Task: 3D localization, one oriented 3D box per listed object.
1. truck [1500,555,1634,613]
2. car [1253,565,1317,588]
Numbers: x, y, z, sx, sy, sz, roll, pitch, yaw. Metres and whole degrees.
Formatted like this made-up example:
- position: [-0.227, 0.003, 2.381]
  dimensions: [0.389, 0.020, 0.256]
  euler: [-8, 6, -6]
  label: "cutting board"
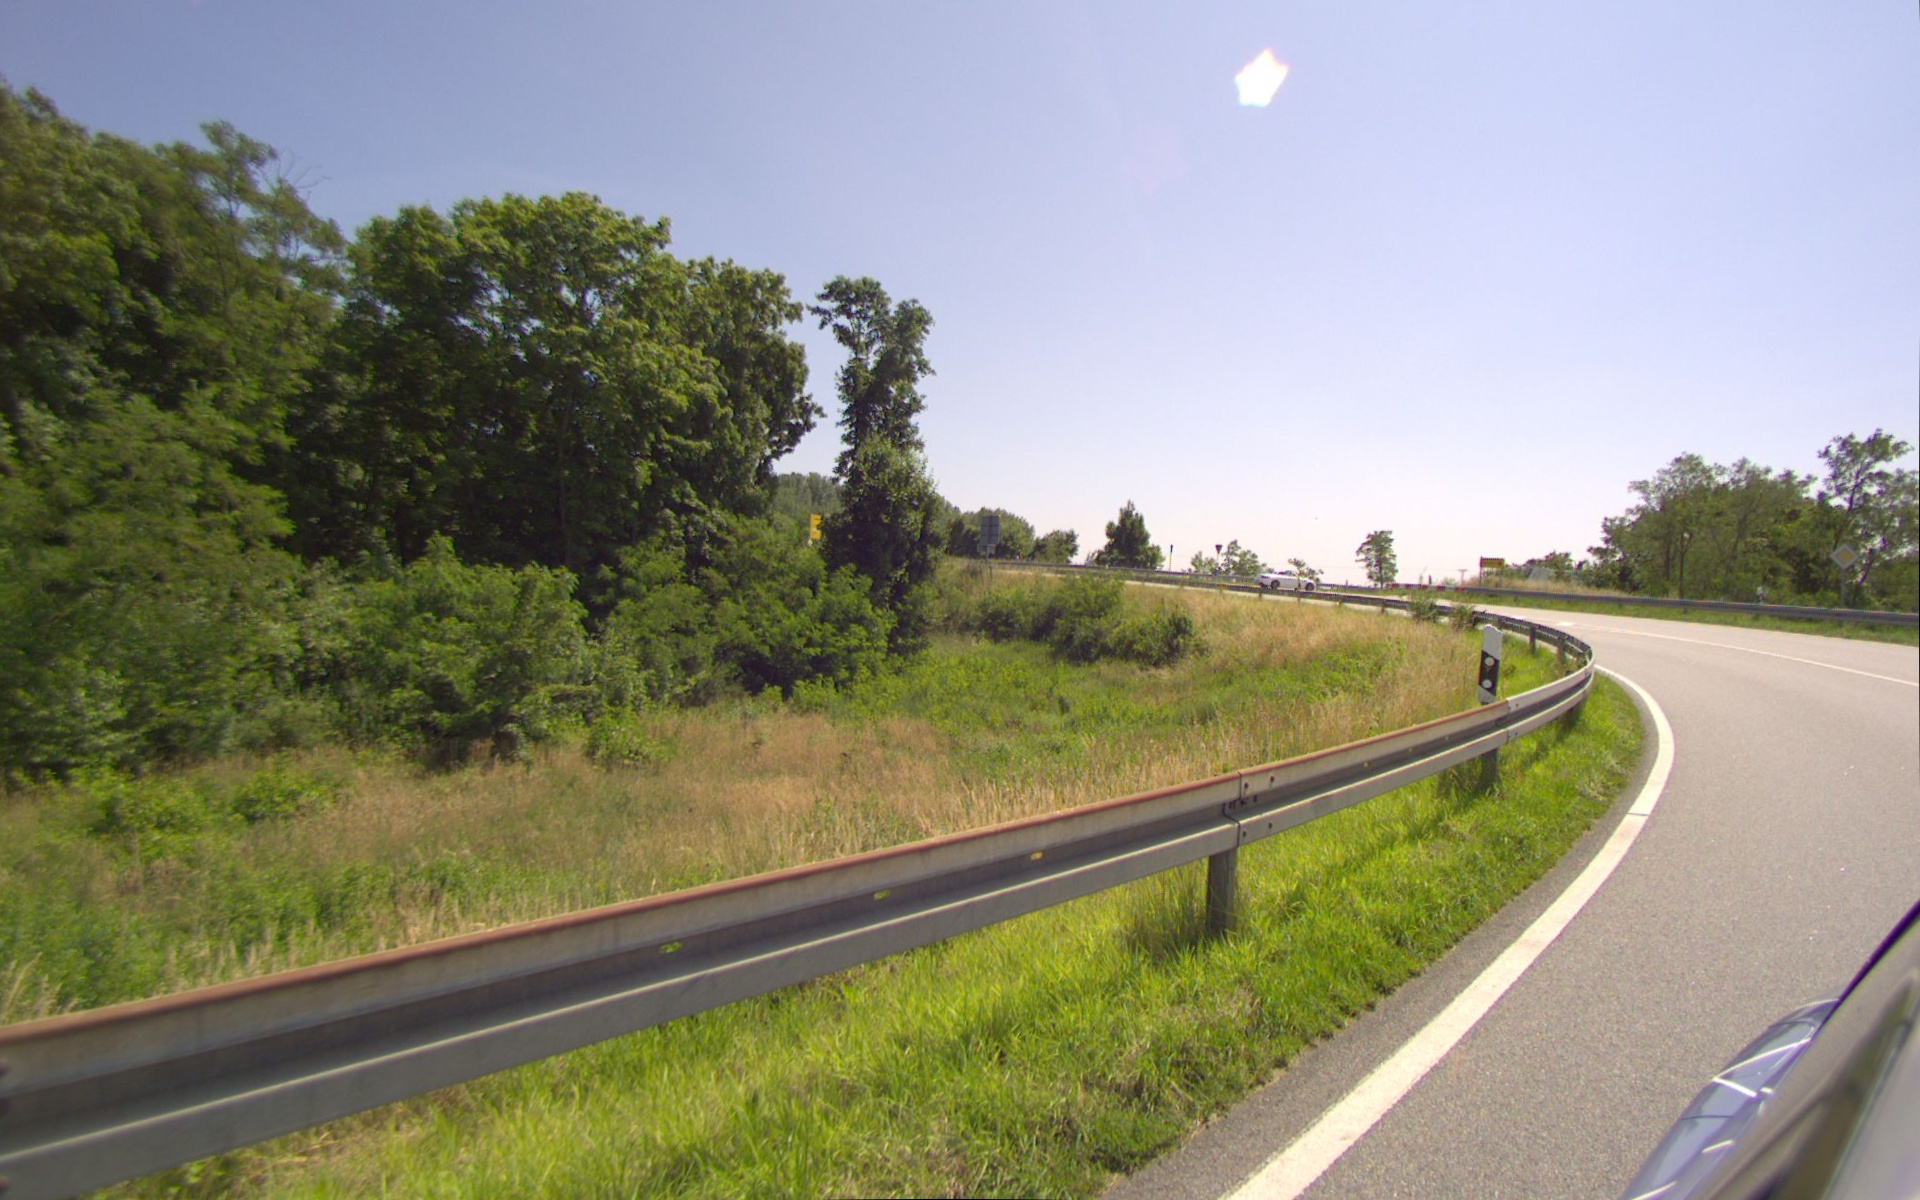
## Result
- position: [48.985, -1.235, 81.712]
  dimensions: [9.741, 3.715, 2.827]
  euler: [5, -1, -12]
  label: "truck"
- position: [23.940, -1.710, 74.571]
  dimensions: [4.025, 1.433, 1.817]
  euler: [3, -2, -10]
  label: "car"
